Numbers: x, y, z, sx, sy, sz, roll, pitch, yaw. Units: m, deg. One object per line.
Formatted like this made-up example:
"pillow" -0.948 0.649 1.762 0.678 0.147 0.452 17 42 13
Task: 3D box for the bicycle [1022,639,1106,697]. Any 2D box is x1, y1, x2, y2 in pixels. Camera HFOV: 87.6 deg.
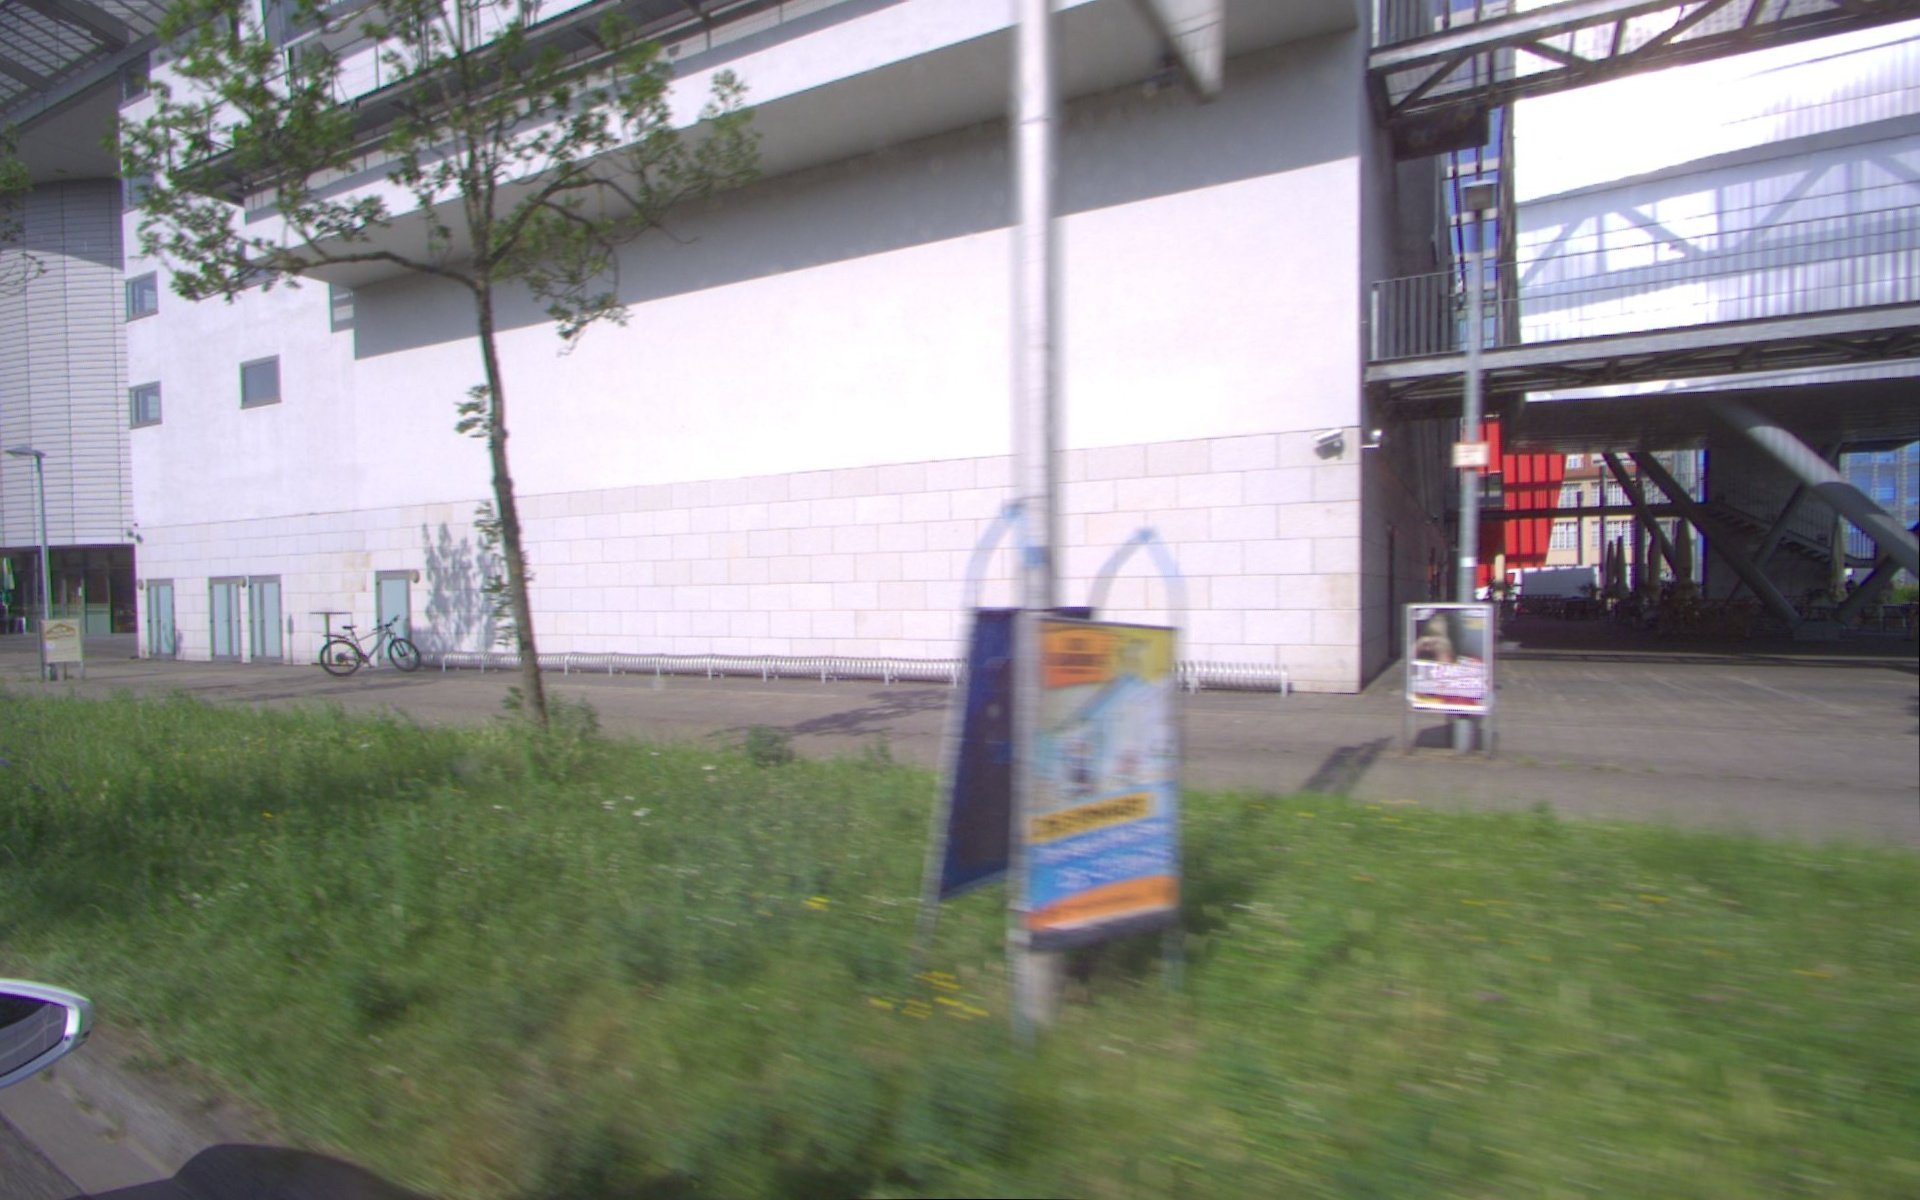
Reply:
"bicycle" 1.426 0.890 13.481 0.530 0.653 1.655 0 0 28

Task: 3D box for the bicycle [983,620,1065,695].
"bicycle" 0.899 0.759 13.741 0.475 0.927 1.655 0 0 28

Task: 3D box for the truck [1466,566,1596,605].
"truck" 29.067 -0.708 51.216 5.603 1.877 1.993 0 1 26

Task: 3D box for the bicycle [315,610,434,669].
"bicycle" -11.934 0.779 20.478 0.666 1.117 2.004 0 0 32
